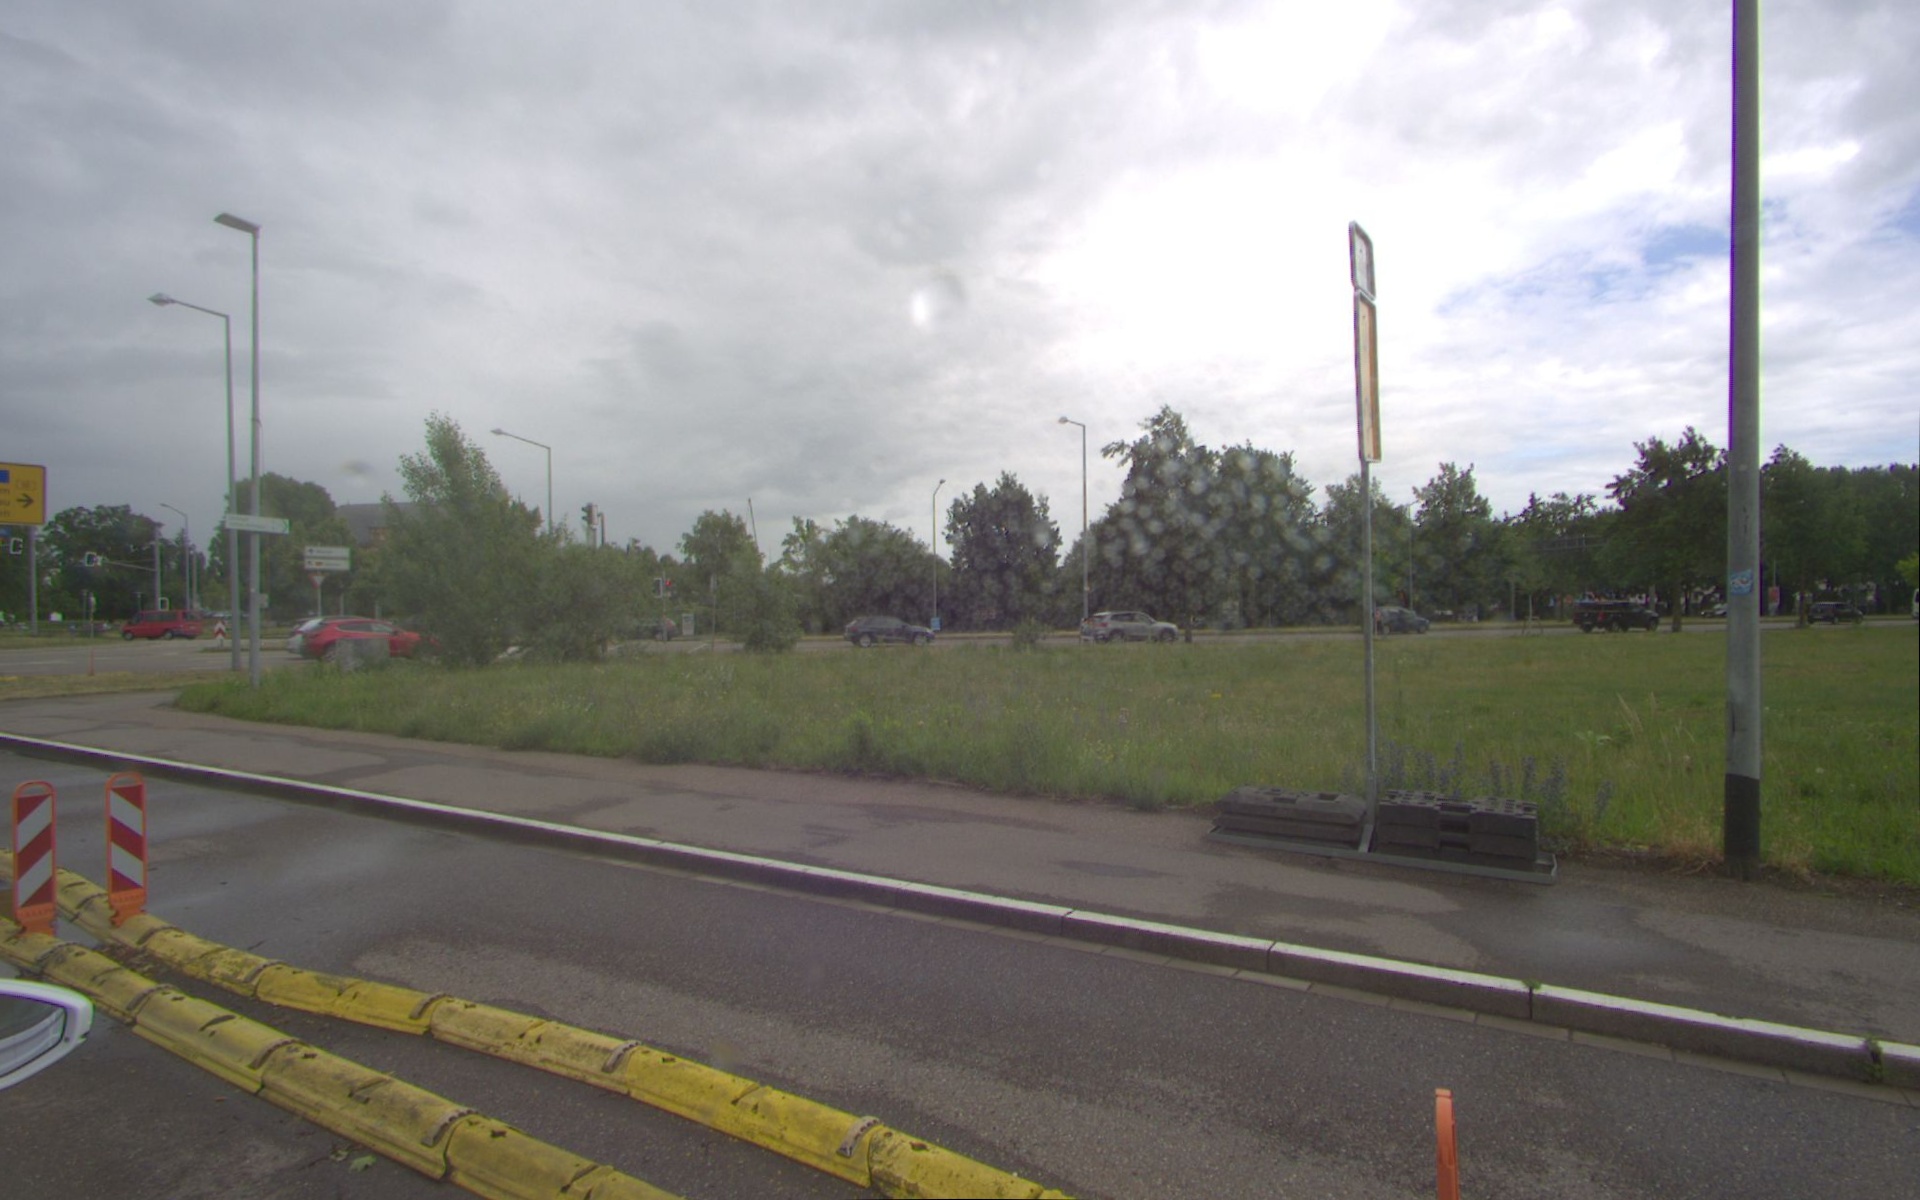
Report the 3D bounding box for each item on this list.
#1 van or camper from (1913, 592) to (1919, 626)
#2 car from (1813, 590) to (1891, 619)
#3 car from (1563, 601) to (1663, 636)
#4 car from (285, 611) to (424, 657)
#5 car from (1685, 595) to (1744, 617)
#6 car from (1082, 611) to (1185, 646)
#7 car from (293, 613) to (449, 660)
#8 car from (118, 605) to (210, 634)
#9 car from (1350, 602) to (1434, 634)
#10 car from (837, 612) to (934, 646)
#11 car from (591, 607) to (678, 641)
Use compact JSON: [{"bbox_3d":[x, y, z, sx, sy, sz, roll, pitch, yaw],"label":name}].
[{"bbox_3d":[63.597,0.538,63.589,5.453,2.143,1.997,0,0,-16],"label":"van or camper"},{"bbox_3d":[59.019,0.268,66.296,3.927,1.873,1.997,0,0,-14],"label":"car"},{"bbox_3d":[38.188,1.054,58.577,4.953,1.998,2.219,0,0,-17],"label":"car"},{"bbox_3d":[-21.866,1.180,36.236,3.960,1.528,1.981,0,0,-44],"label":"car"},{"bbox_3d":[63.555,0.514,84.409,3.925,1.863,1.778,0,0,-10],"label":"car"},{"bbox_3d":[8.273,1.321,47.756,4.453,1.604,1.996,0,0,-18],"label":"car"},{"bbox_3d":[-20.166,1.208,34.380,4.313,1.483,1.981,0,0,-43],"label":"car"},{"bbox_3d":[-55.382,1.348,69.748,4.795,1.943,2.115,0,0,3],"label":"car"},{"bbox_3d":[25.397,1.034,58.925,4.131,1.837,2.075,0,0,-13],"label":"car"},{"bbox_3d":[-3.528,1.349,47.264,4.245,1.483,1.996,0,0,-17],"label":"car"},{"bbox_3d":[-19.907,1.459,61.439,4.849,2.040,1.998,0,0,-12],"label":"car"}]
